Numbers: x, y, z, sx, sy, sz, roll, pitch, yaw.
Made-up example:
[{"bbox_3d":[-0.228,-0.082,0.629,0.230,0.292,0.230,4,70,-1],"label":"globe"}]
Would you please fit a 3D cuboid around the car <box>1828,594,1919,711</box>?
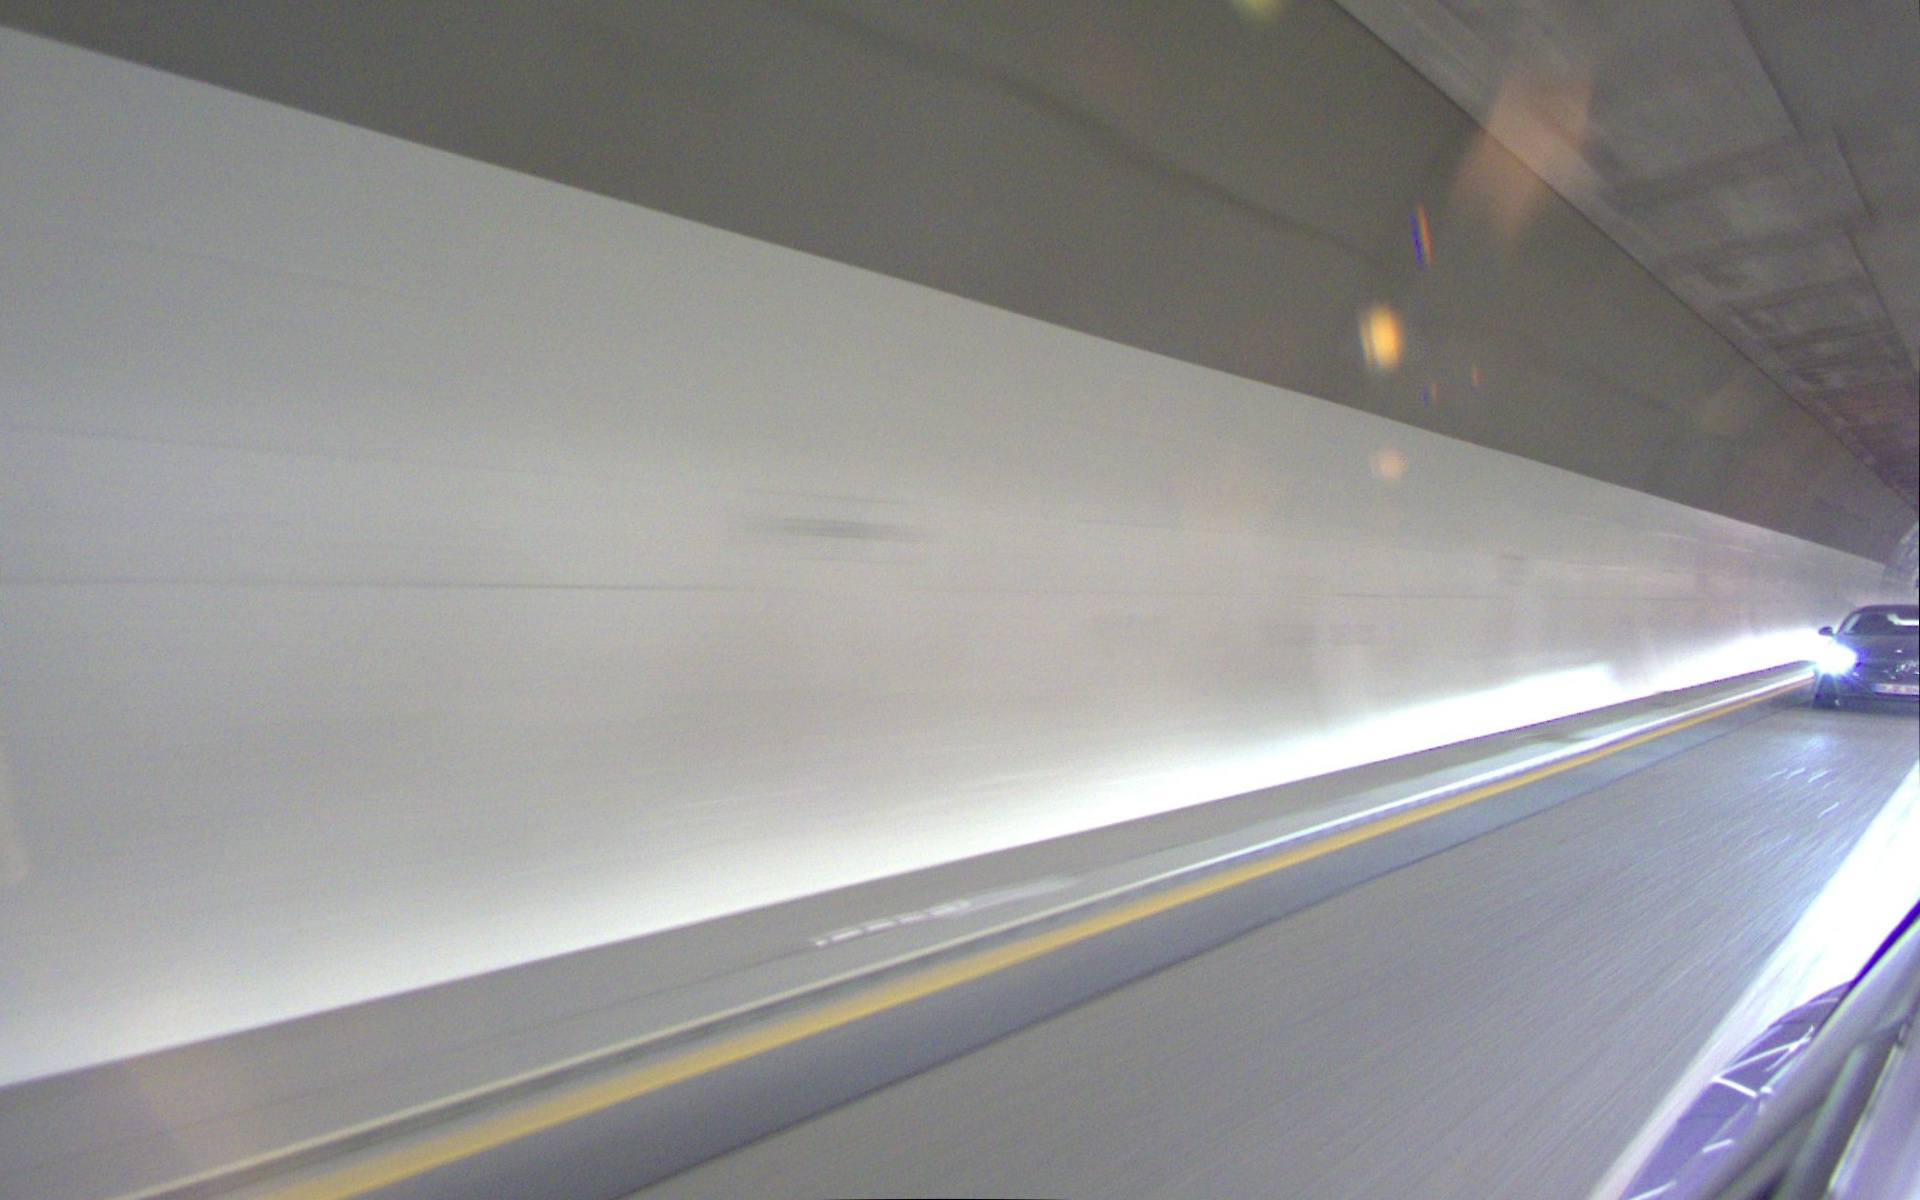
[{"bbox_3d":[13.973,0.679,14.596,4.447,1.496,1.822,0,0,-44],"label":"car"}]
